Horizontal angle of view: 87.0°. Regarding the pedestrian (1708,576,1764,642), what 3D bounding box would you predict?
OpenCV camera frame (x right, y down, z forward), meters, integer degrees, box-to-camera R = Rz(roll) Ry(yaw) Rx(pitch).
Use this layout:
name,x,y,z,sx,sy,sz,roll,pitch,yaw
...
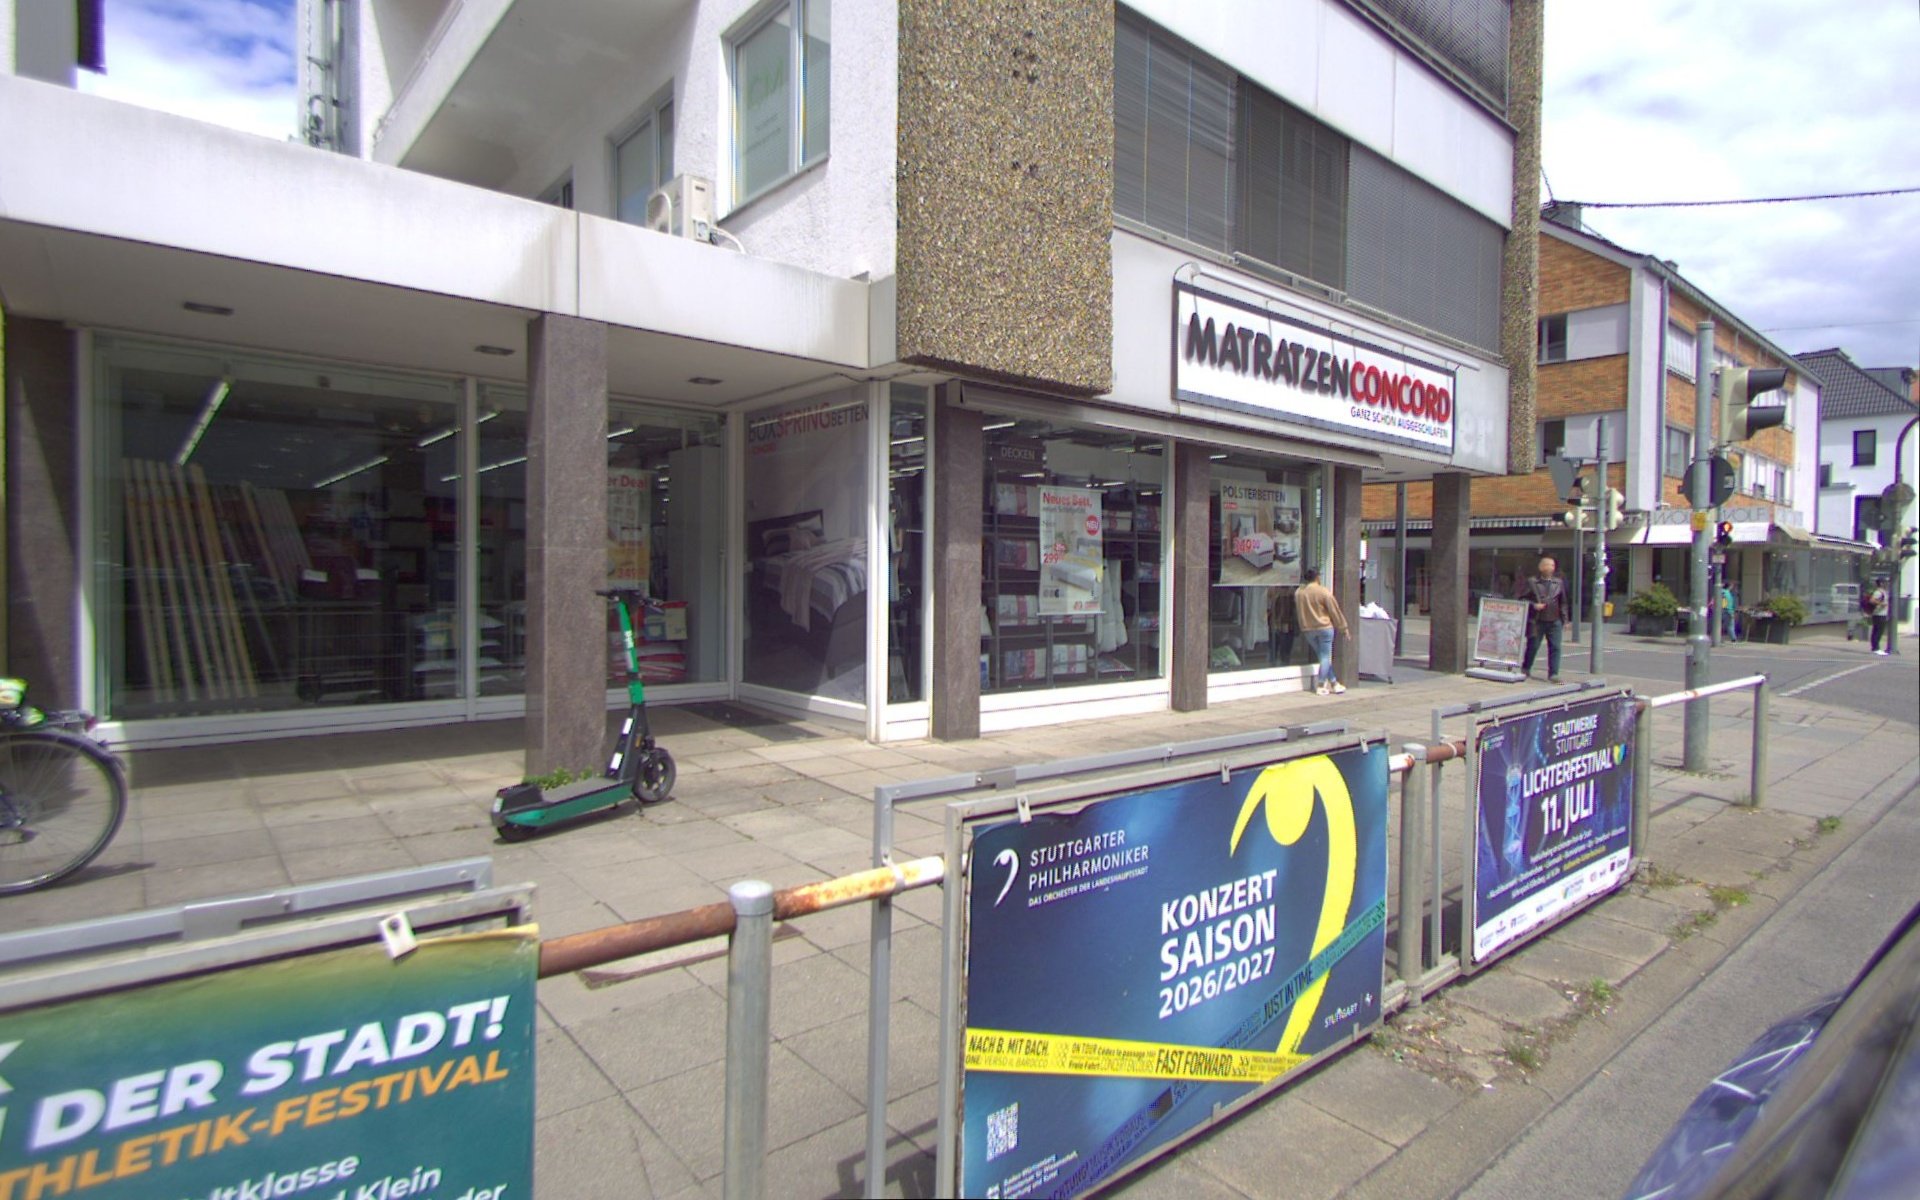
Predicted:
name,x,y,z,sx,sy,sz,roll,pitch,yaw
pedestrian,18.908,0.209,24.690,0.808,1.544,0.775,2,1,18

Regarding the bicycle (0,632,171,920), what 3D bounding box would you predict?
name,x,y,z,sx,sy,sz,roll,pitch,yaw
bicycle,-3.977,0.682,3.744,0.474,1.040,1.612,2,2,40

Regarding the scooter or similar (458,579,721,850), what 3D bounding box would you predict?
name,x,y,z,sx,sy,sz,roll,pitch,yaw
scooter or similar,-1.994,0.538,5.534,0.686,1.283,1.169,2,2,37

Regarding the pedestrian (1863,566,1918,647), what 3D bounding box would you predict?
name,x,y,z,sx,sy,sz,roll,pitch,yaw
pedestrian,21.983,0.146,23.920,0.862,1.853,0.583,1,2,-24

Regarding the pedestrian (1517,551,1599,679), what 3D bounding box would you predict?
name,x,y,z,sx,sy,sz,roll,pitch,yaw
pedestrian,8.304,0.182,14.050,0.794,1.691,0.795,3,2,41

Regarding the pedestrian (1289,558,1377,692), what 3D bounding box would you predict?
name,x,y,z,sx,sy,sz,roll,pitch,yaw
pedestrian,4.407,0.276,11.957,0.707,1.517,0.681,0,2,-40
